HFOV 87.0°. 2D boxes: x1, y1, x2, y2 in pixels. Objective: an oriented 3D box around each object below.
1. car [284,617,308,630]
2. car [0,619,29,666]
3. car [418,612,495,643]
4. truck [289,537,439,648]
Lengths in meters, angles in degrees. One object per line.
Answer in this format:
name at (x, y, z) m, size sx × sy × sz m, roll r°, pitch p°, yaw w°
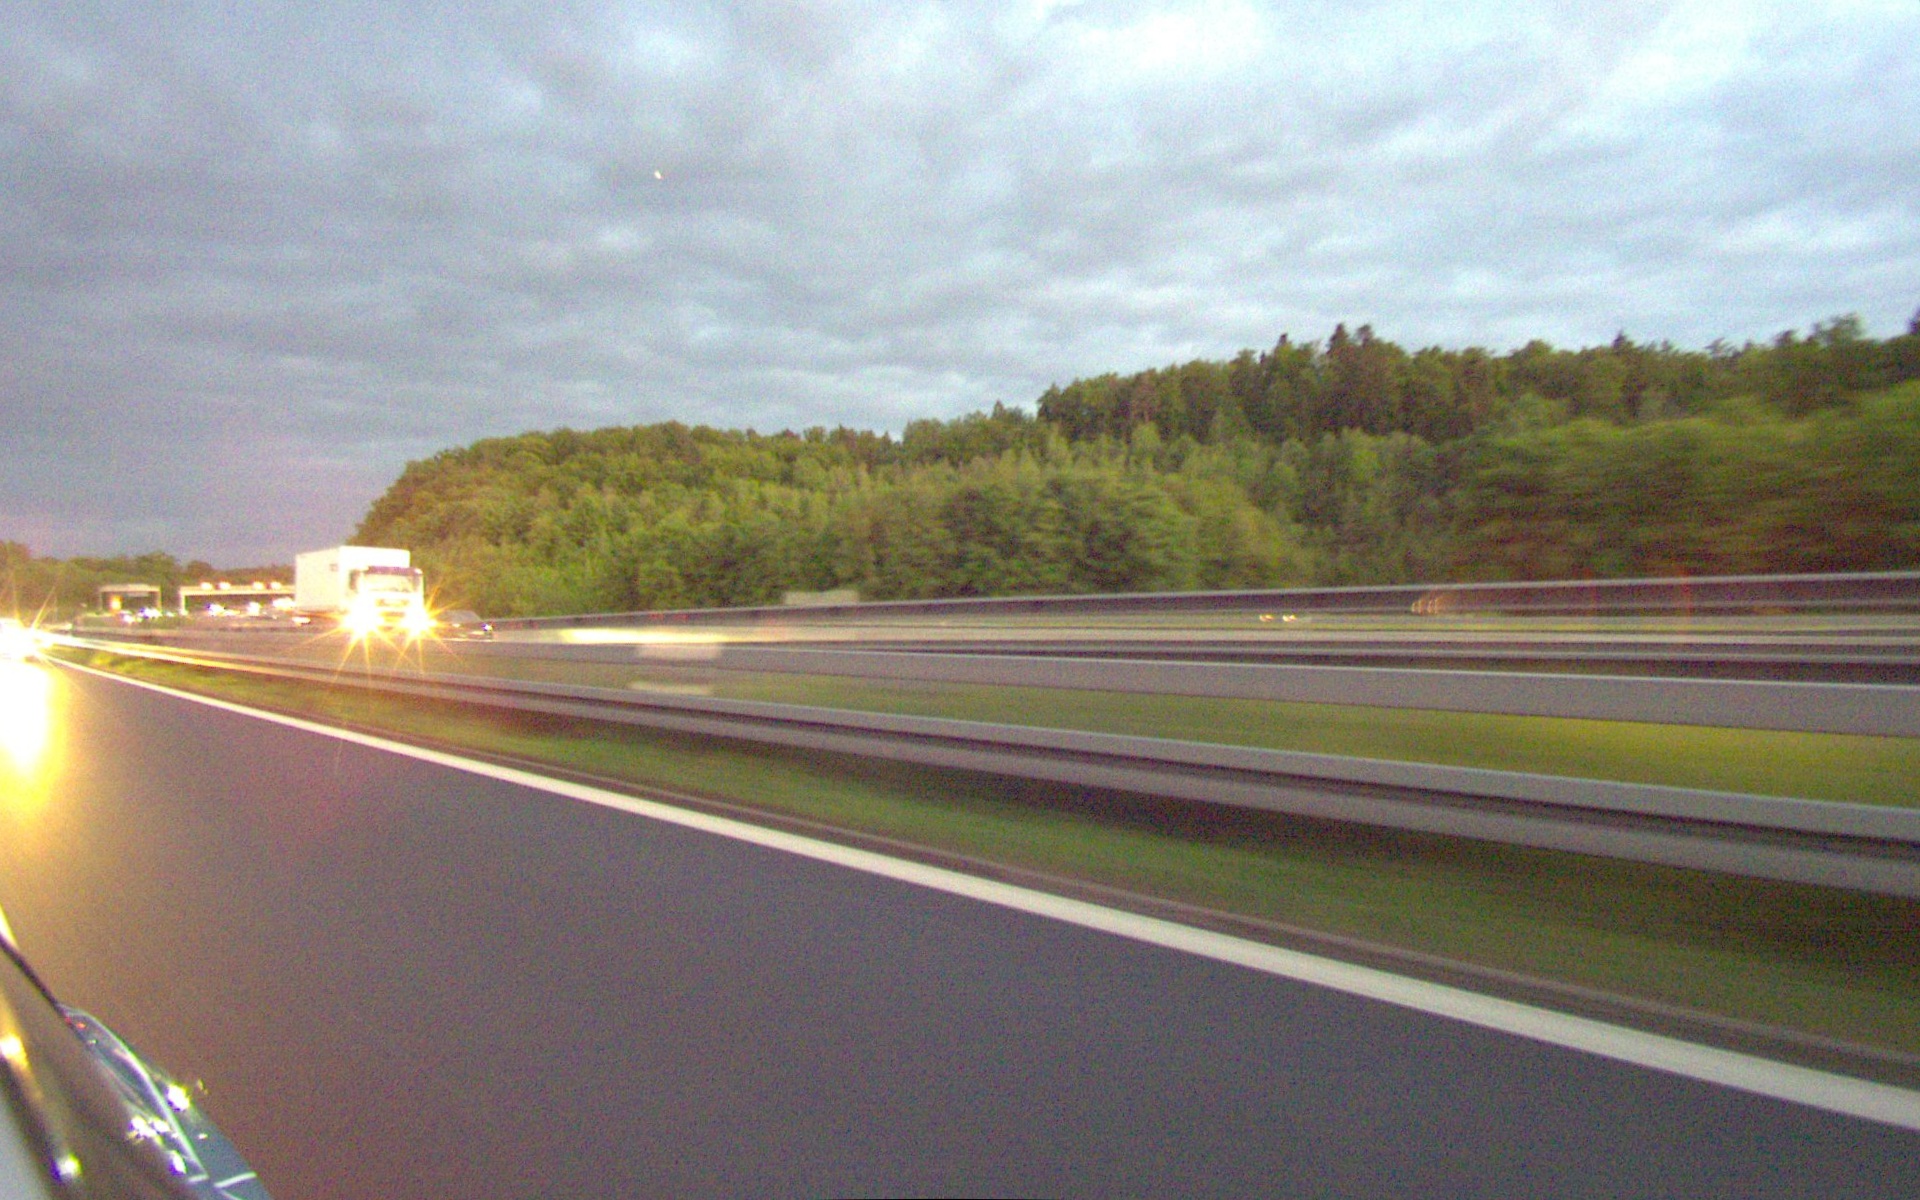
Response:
car at (-83.321, 2.939, 126.917) m, size 1.870 × 1.631 × 4.003 m, roll 0°, pitch 0°, yaw -44°
car at (-33.791, 1.465, 35.190) m, size 3.754 × 1.572 × 1.648 m, roll -1°, pitch 0°, yaw 40°
car at (-23.008, 1.255, 46.227) m, size 3.997 × 1.354 × 1.736 m, roll -1°, pitch -1°, yaw 41°
truck at (-26.102, -0.247, 44.004) m, size 9.892 × 4.334 × 3.005 m, roll -1°, pitch 0°, yaw 43°
